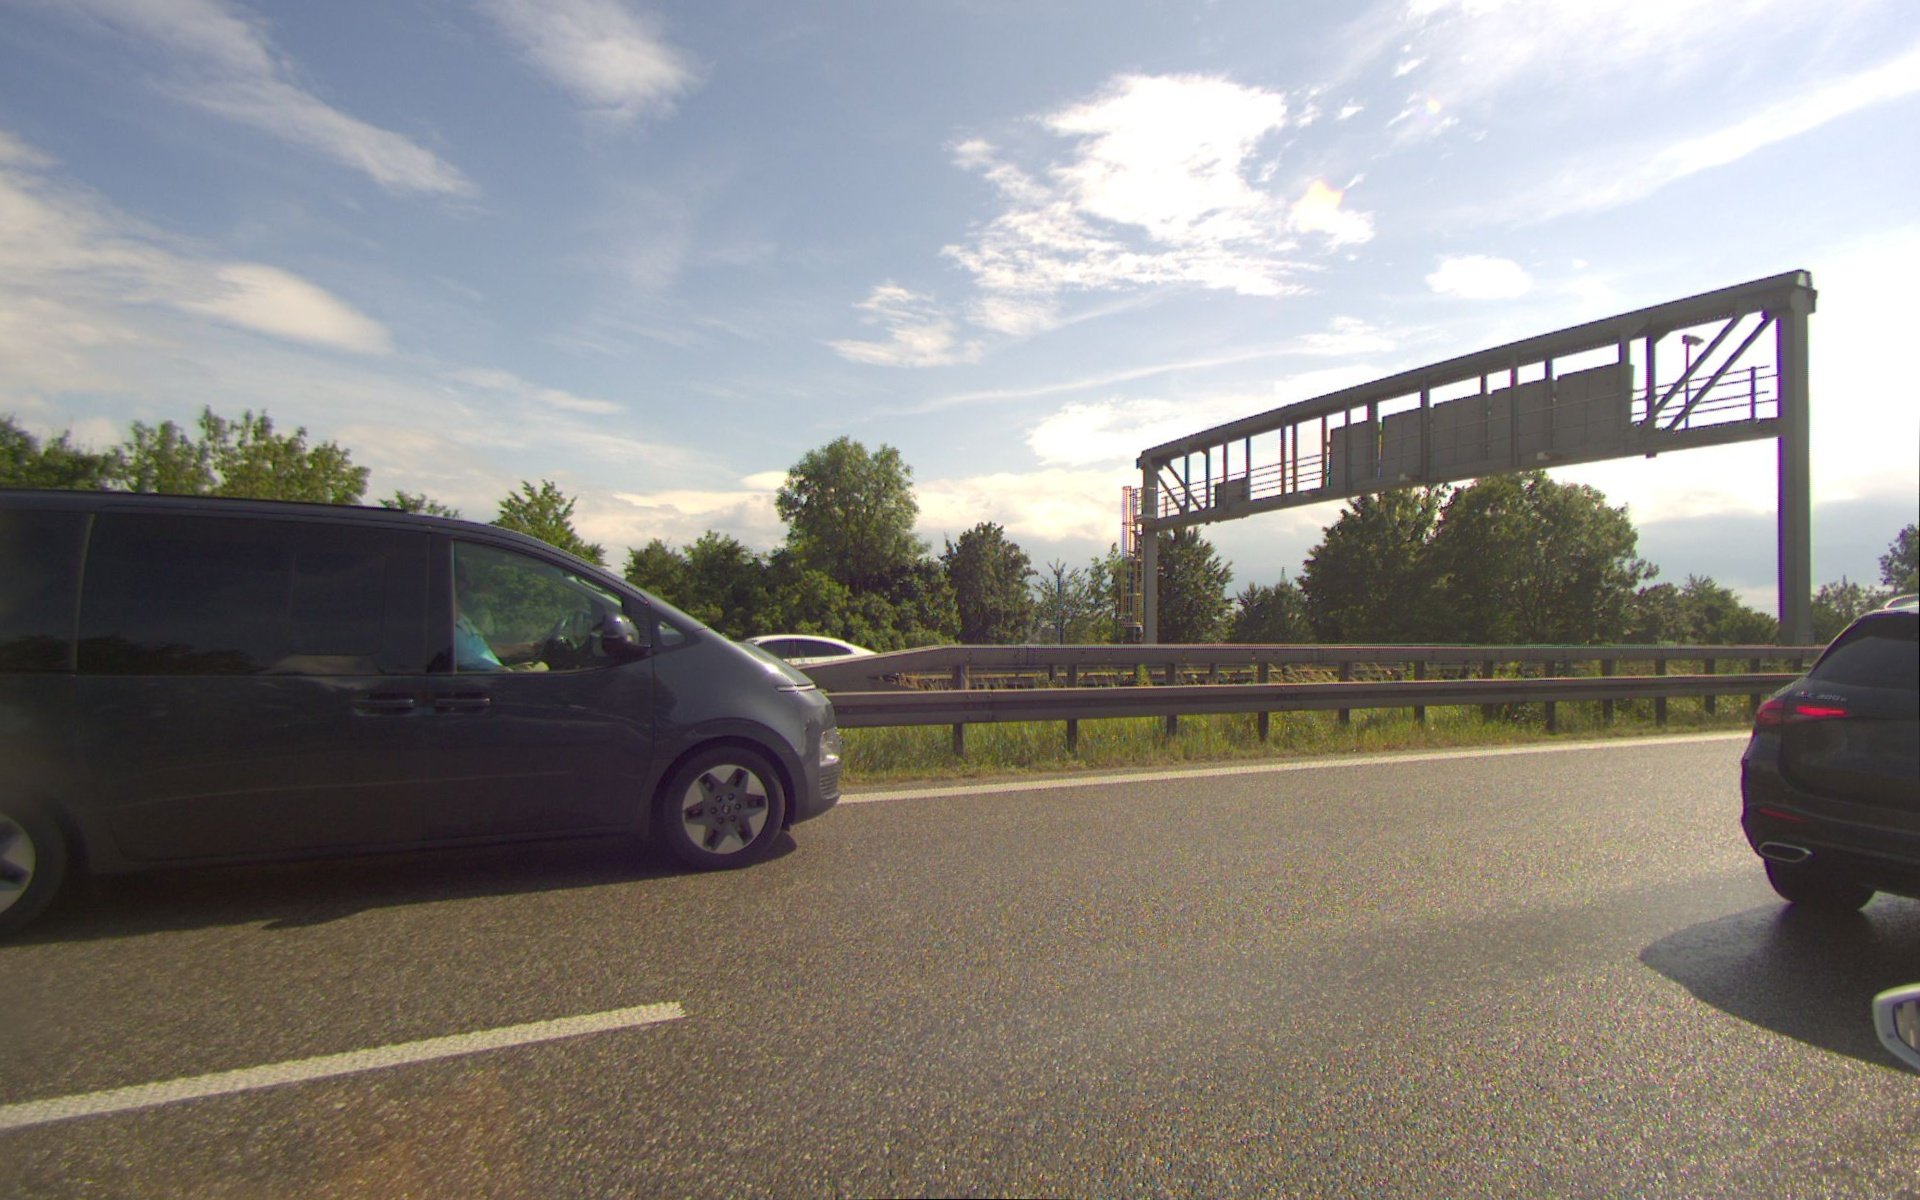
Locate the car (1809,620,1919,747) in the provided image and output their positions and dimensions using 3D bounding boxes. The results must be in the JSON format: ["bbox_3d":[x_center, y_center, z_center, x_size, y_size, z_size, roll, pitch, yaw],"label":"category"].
[{"bbox_3d":[13.453,1.060,13.386,4.152,1.537,1.751,1,-1,-26],"label":"car"}]

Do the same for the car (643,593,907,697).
[{"bbox_3d":[-3.389,0.788,18.484,4.404,1.710,1.986,1,-1,-27],"label":"car"}]

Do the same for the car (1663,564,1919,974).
[{"bbox_3d":[5.909,0.747,5.094,4.347,1.683,1.987,2,-1,-26],"label":"car"}]

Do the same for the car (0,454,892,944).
[{"bbox_3d":[-3.170,0.449,5.724,5.201,2.040,1.986,1,-1,-27],"label":"car"}]
